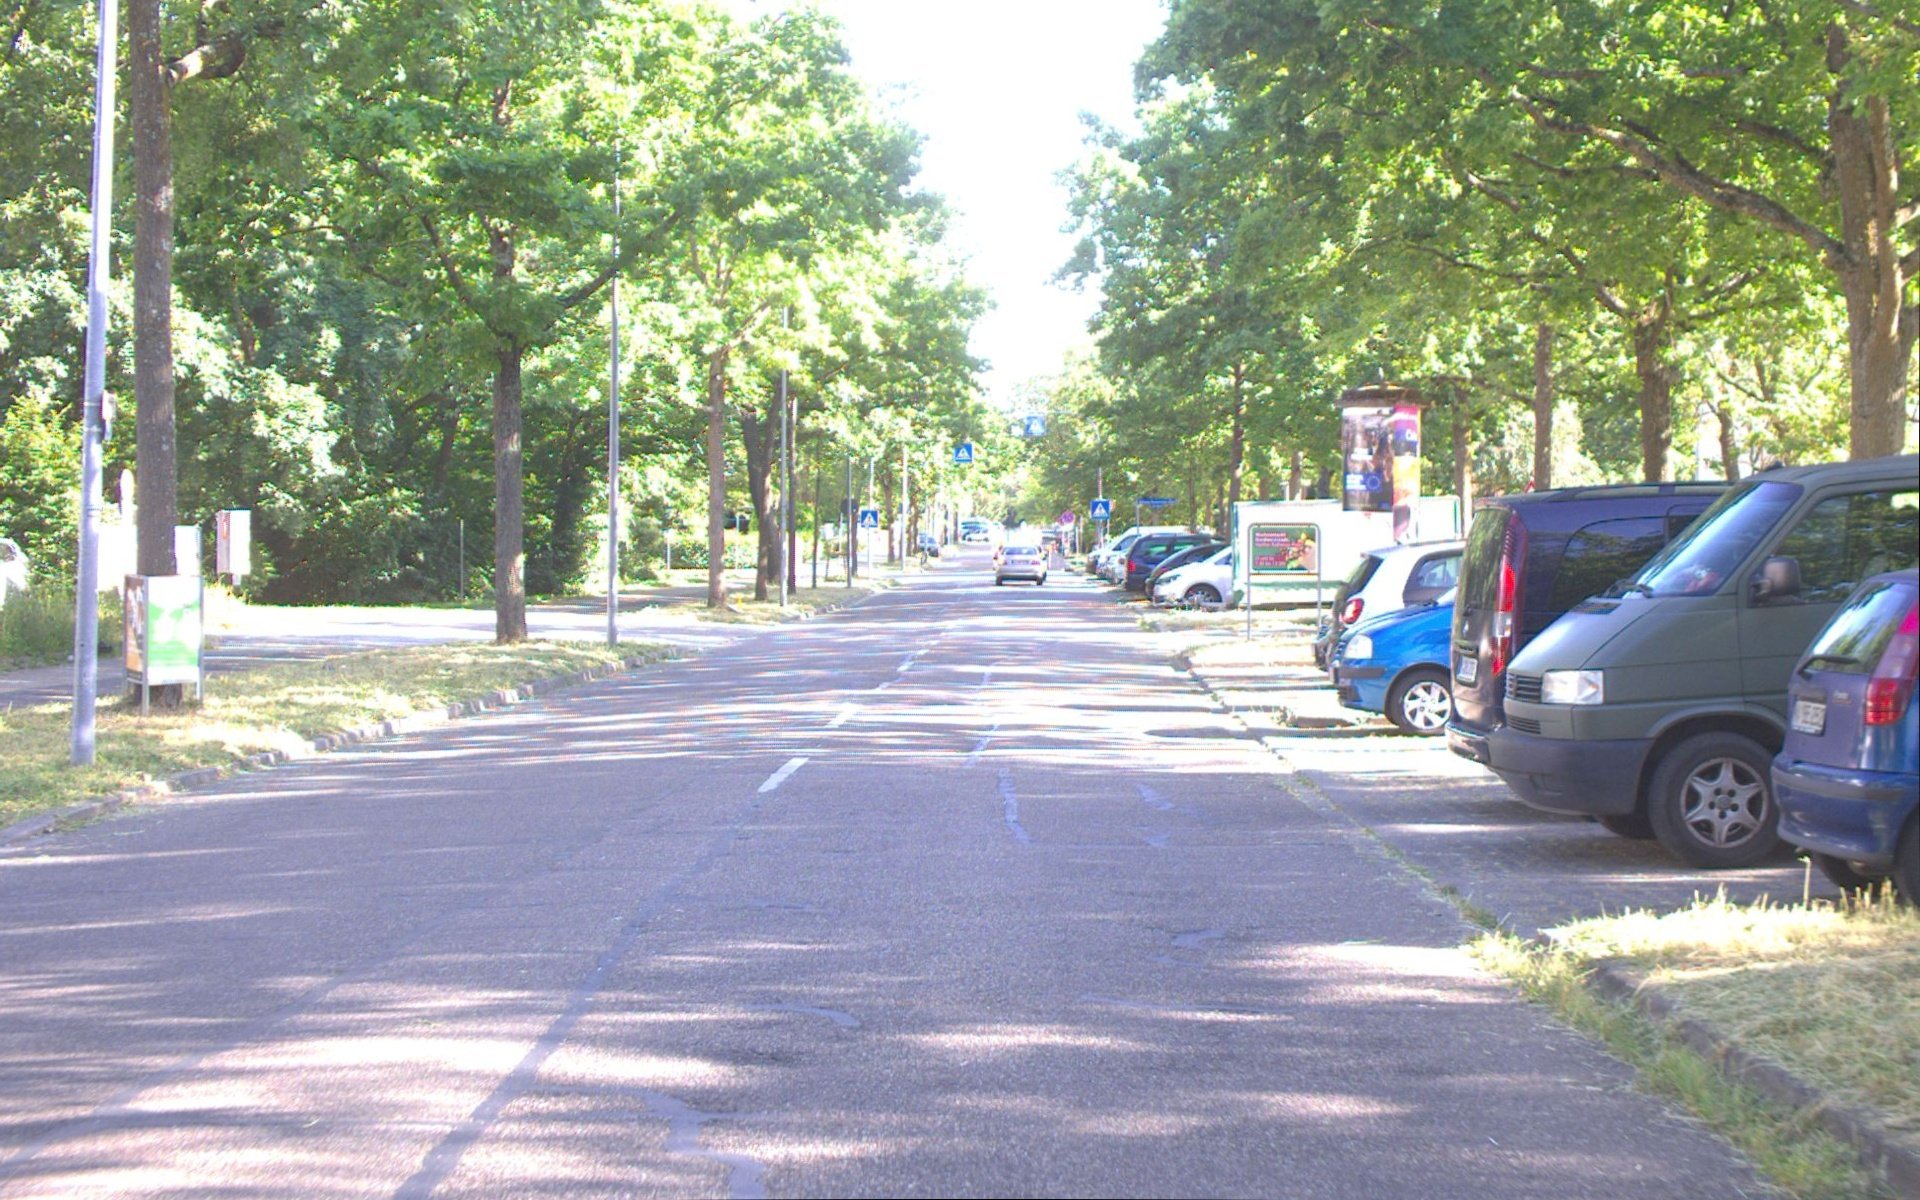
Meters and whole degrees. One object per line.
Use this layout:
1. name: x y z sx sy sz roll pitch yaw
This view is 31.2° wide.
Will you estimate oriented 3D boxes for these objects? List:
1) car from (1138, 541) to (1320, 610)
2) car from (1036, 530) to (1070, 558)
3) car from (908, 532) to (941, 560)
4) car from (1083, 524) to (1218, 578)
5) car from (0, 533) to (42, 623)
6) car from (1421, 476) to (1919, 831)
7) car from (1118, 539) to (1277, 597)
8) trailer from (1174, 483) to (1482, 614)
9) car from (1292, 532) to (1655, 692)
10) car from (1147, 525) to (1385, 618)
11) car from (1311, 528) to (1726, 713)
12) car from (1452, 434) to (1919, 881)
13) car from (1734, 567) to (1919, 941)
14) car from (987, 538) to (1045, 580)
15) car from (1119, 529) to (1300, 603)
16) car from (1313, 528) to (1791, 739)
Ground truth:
1. car: 6.379 -0.594 81.951 4.245 1.514 2.078 -1 1 3
2. car: 5.754 -3.460 213.040 1.993 1.711 4.000 1 1 1
3. car: -2.244 -3.458 219.388 1.993 1.711 4.000 1 1 1
4. car: 7.521 -1.933 136.202 5.187 2.098 2.082 0 1 0
5. car: -16.202 -0.368 55.101 1.547 1.417 3.486 2 1 9
6. car: 4.747 0.251 19.297 4.008 1.831 1.799 -2 1 -1
7. car: 7.106 -0.973 103.178 4.671 1.575 1.917 -2 1 2
8. trailer: 7.068 -1.003 66.397 5.775 2.310 1.686 -2 1 4
9. car: 5.451 0.110 36.839 3.583 1.571 1.857 -2 1 1
10. car: 6.134 -0.588 69.294 4.642 1.716 1.987 -2 1 2
11. car: 5.113 0.171 31.850 3.584 1.571 1.786 -2 1 3
12. car: 4.945 0.226 16.768 4.803 2.025 1.944 -1 1 1
13. car: 5.323 0.550 13.892 3.988 1.398 1.739 -1 1 1
14. car: 1.997 -1.477 124.205 1.993 1.479 4.000 0 1 0
15. car: 6.424 -0.878 88.822 4.530 1.795 1.936 -1 1 2
16. car: 4.630 0.251 27.252 3.521 1.527 1.665 -2 1 3
